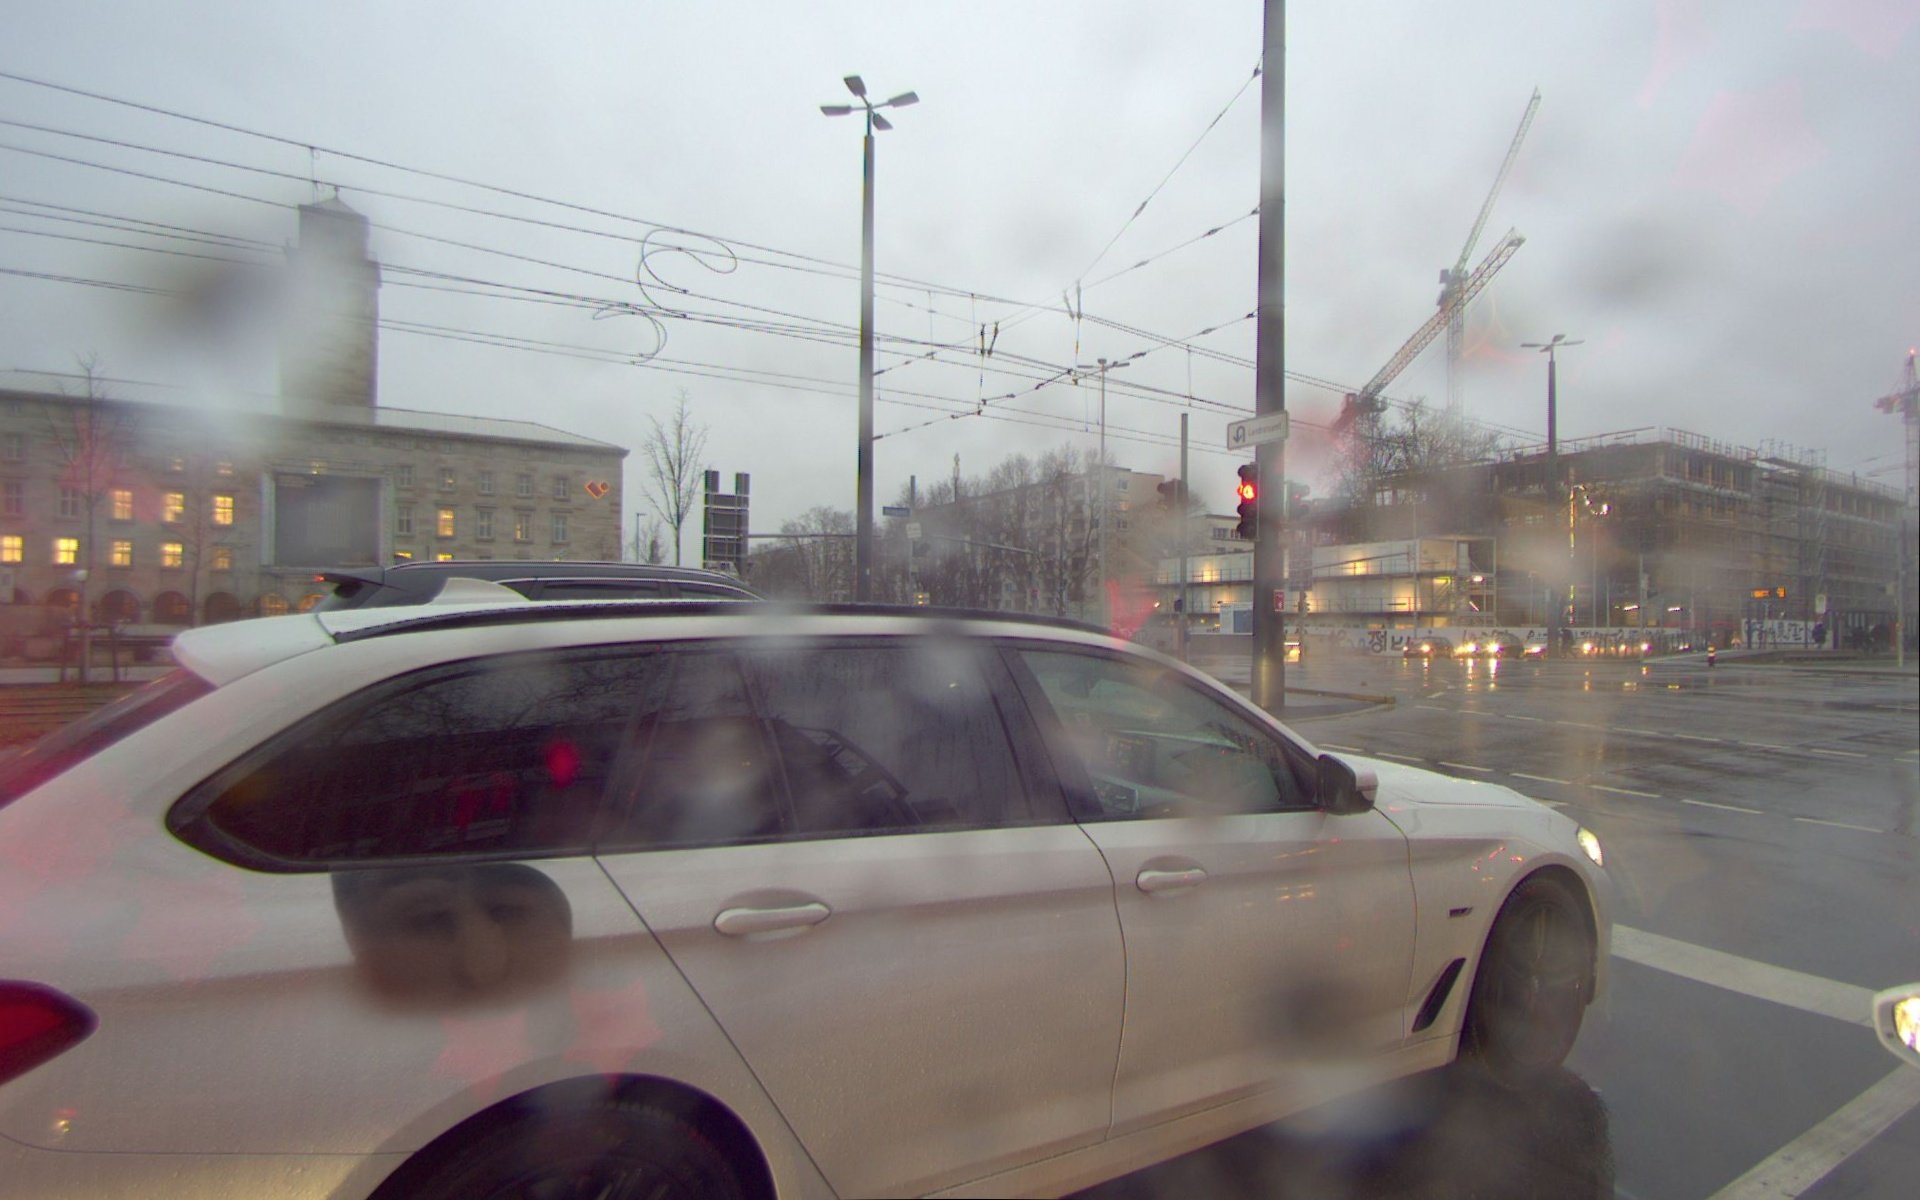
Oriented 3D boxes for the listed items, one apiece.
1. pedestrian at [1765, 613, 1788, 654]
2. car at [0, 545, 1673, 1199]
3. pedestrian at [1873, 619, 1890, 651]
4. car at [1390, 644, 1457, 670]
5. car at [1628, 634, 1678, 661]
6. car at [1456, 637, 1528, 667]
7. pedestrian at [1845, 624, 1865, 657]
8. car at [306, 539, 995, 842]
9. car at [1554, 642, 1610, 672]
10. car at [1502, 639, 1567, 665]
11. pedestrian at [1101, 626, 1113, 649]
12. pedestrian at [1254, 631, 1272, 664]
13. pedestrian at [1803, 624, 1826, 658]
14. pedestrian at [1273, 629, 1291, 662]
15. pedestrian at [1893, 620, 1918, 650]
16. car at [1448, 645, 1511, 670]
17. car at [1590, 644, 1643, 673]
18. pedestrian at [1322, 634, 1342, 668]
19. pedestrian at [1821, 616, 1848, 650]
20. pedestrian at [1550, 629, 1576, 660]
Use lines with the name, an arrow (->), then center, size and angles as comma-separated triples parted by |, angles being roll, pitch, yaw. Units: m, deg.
pedestrian -> 47.150, 1.932, 58.017 | 0.754, 2.354, 0.761 | 3, -1, -30
car -> -0.012, 0.751, 3.108 | 4.508, 1.506, 2.007 | 2, -2, -31
pedestrian -> 58.018, 2.195, 63.232 | 0.659, 1.994, 0.566 | 2, 1, -36
car -> 29.409, 3.624, 63.703 | 3.953, 1.550, 1.984 | 2, -2, -30
car -> 50.516, 3.470, 73.204 | 3.967, 1.814, 1.977 | 2, 0, -40
car -> 31.329, 3.068, 59.152 | 3.953, 1.679, 1.984 | 2, -2, -30
pedestrian -> 52.697, 2.386, 59.132 | 0.547, 1.906, 0.695 | 2, 0, -30
car -> -2.065, 0.553, 7.234 | 4.238, 1.605, 1.958 | 2, -1, -29
car -> 41.191, 3.731, 66.474 | 3.963, 1.852, 1.852 | 2, 0, -37
car -> 35.883, 3.246, 62.717 | 4.577, 1.550, 2.059 | 2, -2, -40
pedestrian -> 11.793, 3.004, 80.593 | 0.714, 1.800, 0.789 | 1, -1, -23
pedestrian -> 19.371, 3.040, 64.162 | 0.620, 2.040, 0.856 | 2, 0, -37
pedestrian -> 49.595, 2.370, 58.324 | 0.754, 1.922, 0.761 | 3, -1, -30
pedestrian -> 20.509, 2.893, 63.925 | 0.737, 2.040, 0.783 | 2, 0, -25
pedestrian -> 65.468, 2.397, 69.547 | 1.082, 2.040, 0.937 | 2, 0, -32
car -> 35.007, 3.860, 67.702 | 3.953, 1.550, 1.984 | 2, -2, -30
car -> 45.896, 4.068, 70.199 | 3.967, 1.814, 1.977 | 2, 0, -40
pedestrian -> 24.061, 3.290, 64.945 | 0.758, 2.194, 0.867 | 2, 0, -38
pedestrian -> 53.694, 2.002, 61.663 | 1.082, 2.040, 0.937 | 2, 0, -32
pedestrian -> 28.253, 2.083, 47.075 | 0.713, 1.407, 0.728 | 2, 0, -17
